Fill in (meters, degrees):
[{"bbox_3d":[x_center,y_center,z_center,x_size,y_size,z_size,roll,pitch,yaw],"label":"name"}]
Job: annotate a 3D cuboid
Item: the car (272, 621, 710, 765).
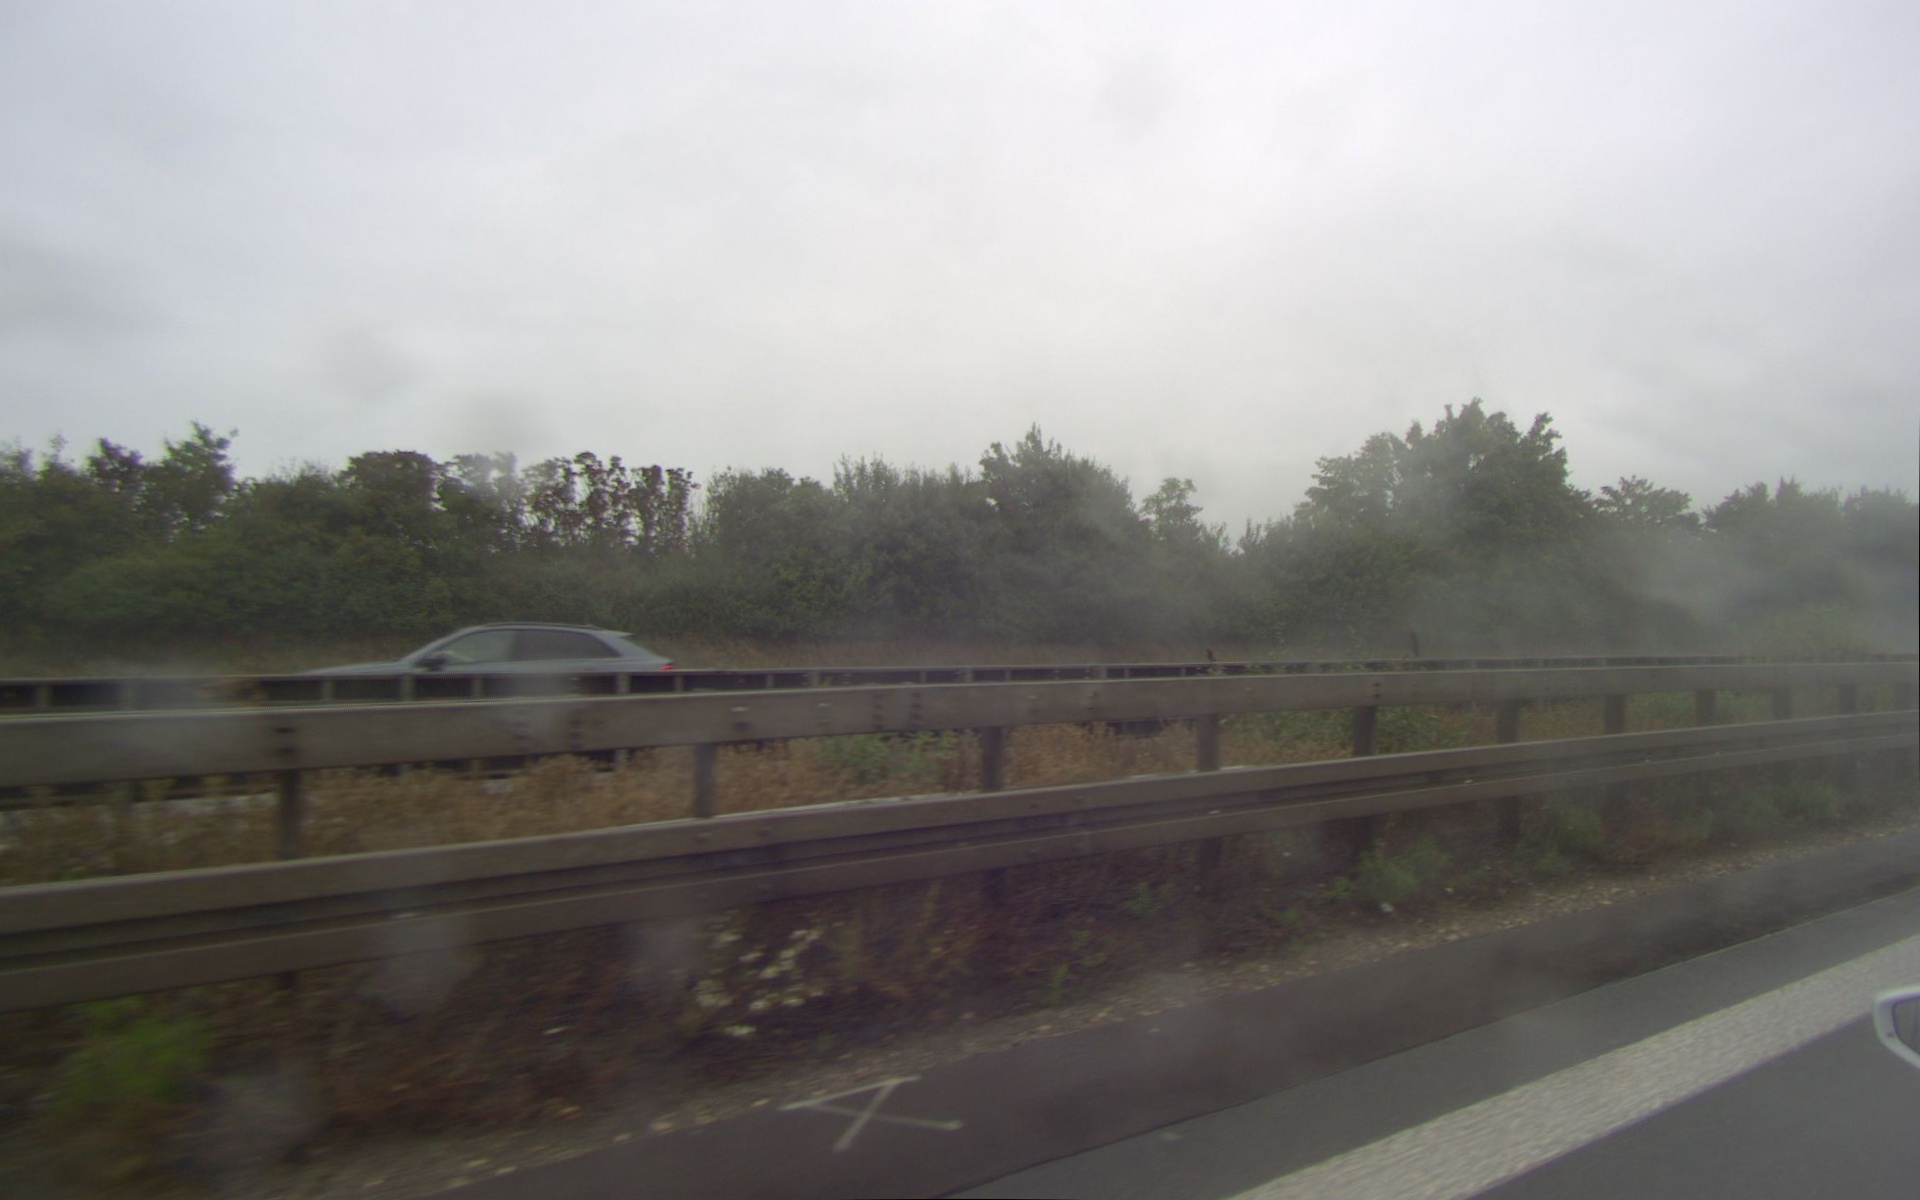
[{"bbox_3d":[-5.961,1.085,13.156,4.877,1.532,1.918,1,0,-31],"label":"car"}]
